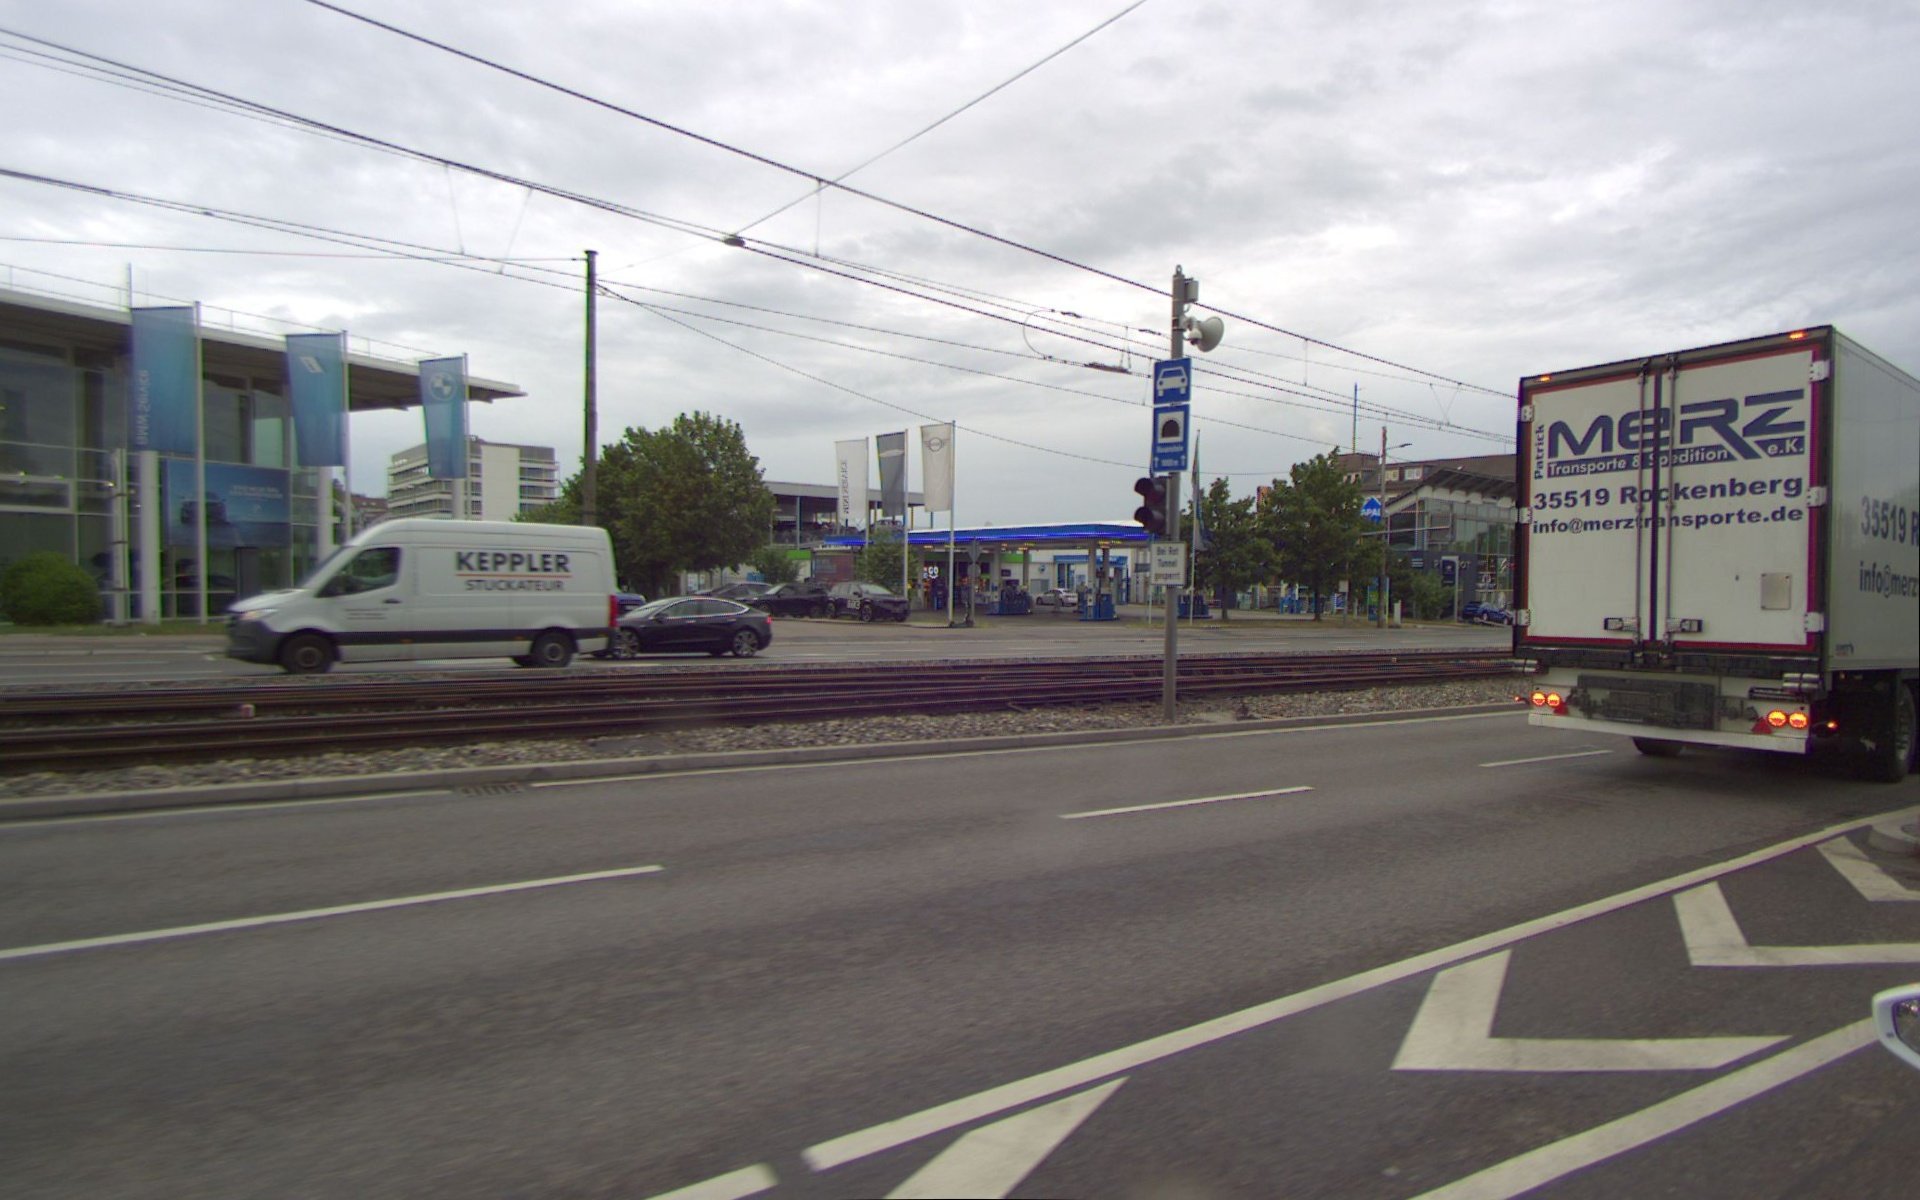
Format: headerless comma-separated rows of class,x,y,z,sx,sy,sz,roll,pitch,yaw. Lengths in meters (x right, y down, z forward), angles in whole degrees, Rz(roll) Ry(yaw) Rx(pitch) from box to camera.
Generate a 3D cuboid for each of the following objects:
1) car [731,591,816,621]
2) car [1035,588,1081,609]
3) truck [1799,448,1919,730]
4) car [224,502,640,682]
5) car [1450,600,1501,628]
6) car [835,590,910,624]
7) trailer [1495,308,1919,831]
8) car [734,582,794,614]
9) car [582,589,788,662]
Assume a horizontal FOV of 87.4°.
car,-8.335,0.273,45.047,3.403,1.260,1.572,1,1,-41
car,8.550,-0.144,87.839,1.839,1.662,3.960,1,1,-35
truck,16.993,-0.127,17.105,6.245,4.261,2.737,1,-1,-36
car,-8.926,-0.084,17.405,6.111,2.633,2.035,1,1,-38
car,39.546,1.075,76.970,4.031,1.629,1.749,8,-3,-36
car,-3.723,0.276,42.289,1.698,1.291,3.495,1,1,-33
trailer,11.671,-0.157,13.246,13.055,4.309,2.743,1,-1,-36
car,-10.240,-0.098,52.508,2.778,1.594,1.370,1,1,-40
car,-6.332,0.568,23.372,4.301,1.536,1.728,1,0,-38
